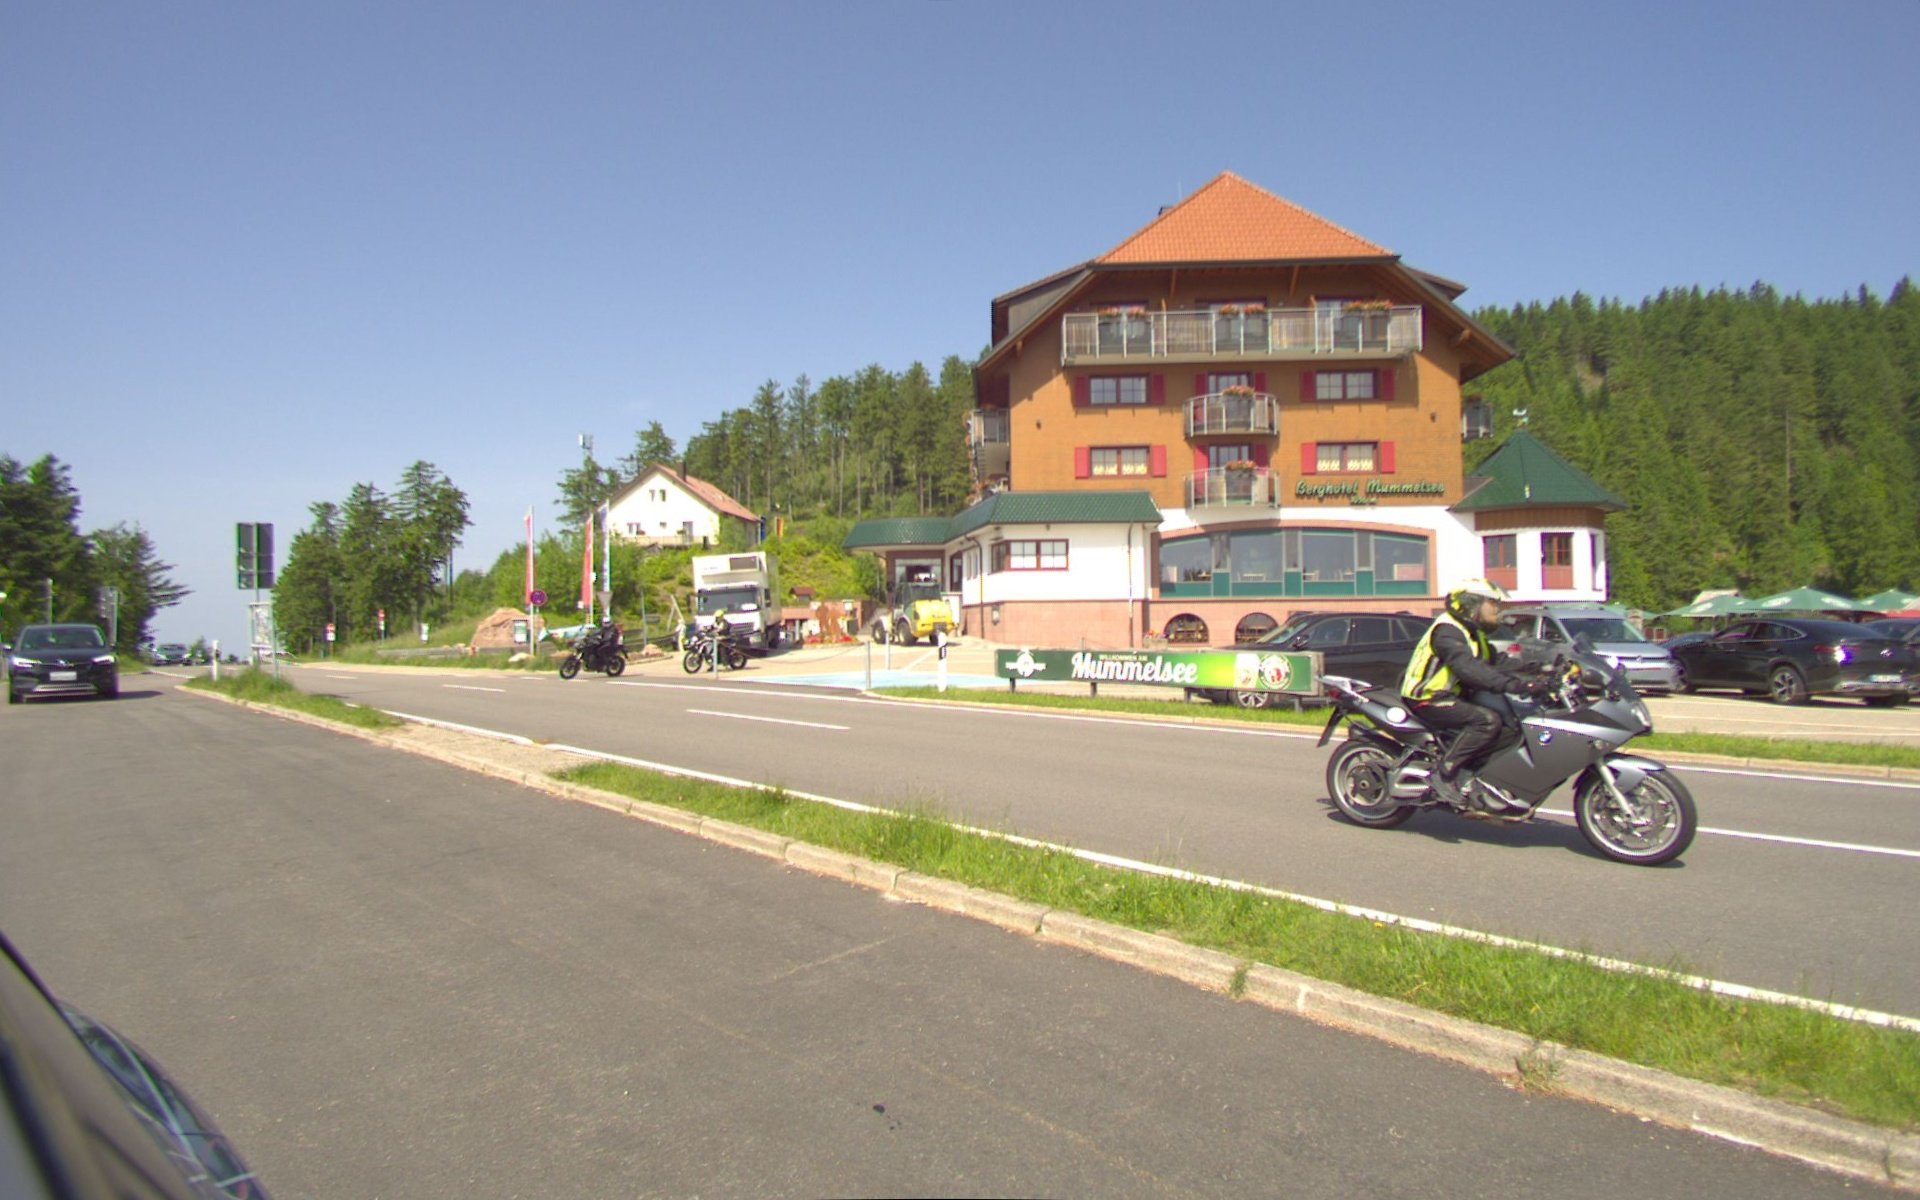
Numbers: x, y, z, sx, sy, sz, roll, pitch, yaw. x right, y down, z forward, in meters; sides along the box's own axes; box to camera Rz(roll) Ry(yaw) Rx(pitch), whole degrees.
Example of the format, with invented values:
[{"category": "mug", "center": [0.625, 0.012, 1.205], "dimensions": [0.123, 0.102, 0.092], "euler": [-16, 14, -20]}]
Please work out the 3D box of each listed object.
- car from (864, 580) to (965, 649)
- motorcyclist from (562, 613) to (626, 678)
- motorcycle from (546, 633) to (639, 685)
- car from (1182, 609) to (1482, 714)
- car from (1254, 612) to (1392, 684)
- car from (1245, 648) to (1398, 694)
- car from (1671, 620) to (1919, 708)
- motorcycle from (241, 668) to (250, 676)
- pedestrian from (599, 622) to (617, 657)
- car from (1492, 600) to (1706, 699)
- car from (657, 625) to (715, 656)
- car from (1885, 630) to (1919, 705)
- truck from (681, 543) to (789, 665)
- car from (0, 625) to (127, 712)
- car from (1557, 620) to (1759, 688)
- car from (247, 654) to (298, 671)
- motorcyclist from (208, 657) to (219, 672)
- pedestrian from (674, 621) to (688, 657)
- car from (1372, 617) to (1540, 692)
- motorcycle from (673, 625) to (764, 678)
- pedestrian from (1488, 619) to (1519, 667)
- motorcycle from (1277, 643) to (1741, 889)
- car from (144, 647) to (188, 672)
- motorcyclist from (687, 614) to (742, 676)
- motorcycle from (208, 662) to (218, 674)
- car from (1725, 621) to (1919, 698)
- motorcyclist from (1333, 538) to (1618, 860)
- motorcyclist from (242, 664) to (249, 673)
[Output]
[{"category": "car", "center": [-1.822, 0.621, 39.460], "dimensions": [1.968, 2.515, 4.008], "euler": [1, -3, -38]}, {"category": "motorcyclist", "center": [-10.154, 1.235, 28.078], "dimensions": [1.429, 1.730, 0.928], "euler": [-1, 0, -39]}, {"category": "motorcycle", "center": [-10.180, 1.608, 28.079], "dimensions": [2.241, 1.266, 0.881], "euler": [-1, 0, -40]}, {"category": "car", "center": [5.865, 0.981, 16.359], "dimensions": [4.135, 1.552, 1.807], "euler": [-1, -2, 1]}, {"category": "car", "center": [9.199, 1.186, 26.099], "dimensions": [1.913, 1.676, 4.544], "euler": [-1, -1, 0]}, {"category": "car", "center": [10.748, 2.114, 30.288], "dimensions": [3.947, 1.307, 1.712], "euler": [-1, -2, 3]}, {"category": "car", "center": [15.539, 1.134, 18.723], "dimensions": [1.887, 1.441, 3.999], "euler": [-1, -2, 0]}, {"category": "motorcycle", "center": [-115.024, 11.614, 162.924], "dimensions": [0.827, 1.104, 2.189], "euler": [-2, -1, -29]}, {"category": "pedestrian", "center": [-17.567, 1.975, 50.570], "dimensions": [0.688, 1.729, 0.799], "euler": [0, -3, -8]}, {"category": "car", "center": [13.344, 1.041, 21.533], "dimensions": [1.811, 1.878, 4.525], "euler": [-1, -2, 3]}, {"category": "car", "center": [-15.536, 2.276, 57.636], "dimensions": [1.857, 1.364, 3.994], "euler": [0, 3, 6]}, {"category": "car", "center": [17.809, 1.135, 16.728], "dimensions": [1.565, 1.331, 3.640], "euler": [0, -2, -1]}, {"category": "truck", "center": [-8.409, 0.126, 38.893], "dimensions": [3.022, 4.002, 8.785], "euler": [-3, 0, -7]}, {"category": "car", "center": [-19.039, 1.377, 21.409], "dimensions": [1.956, 1.629, 4.154], "euler": [0, -2, -43]}, {"category": "car", "center": [16.450, 1.267, 24.143], "dimensions": [1.907, 1.494, 4.001], "euler": [0, -2, -2]}, {"category": "car", "center": [-80.807, 7.322, 119.013], "dimensions": [4.659, 1.896, 1.935], "euler": [5, -6, -41]}, {"category": "motorcyclist", "center": [-82.089, 7.071, 111.245], "dimensions": [0.867, 1.654, 1.302], "euler": [2, -4, -39]}, {"category": "pedestrian", "center": [-13.463, 1.885, 48.774], "dimensions": [0.566, 1.702, 0.654], "euler": [0, -3, -8]}, {"category": "car", "center": [11.226, 1.231, 23.263], "dimensions": [1.973, 1.557, 3.996], "euler": [-1, -2, 2]}, {"category": "motorcycle", "center": [-7.101, 1.479, 29.825], "dimensions": [2.405, 1.417, 1.008], "euler": [-1, 0, -36]}, {"category": "pedestrian", "center": [18.729, 1.485, 34.888], "dimensions": [0.695, 1.645, 0.624], "euler": [-1, -3, 9]}, {"category": "motorcycle", "center": [3.164, 0.858, 6.032], "dimensions": [2.285, 1.186, 0.813], "euler": [-2, -2, 42]}, {"category": "car", "center": [-49.509, 3.693, 63.062], "dimensions": [1.755, 1.468, 4.003], "euler": [2, -3, -44]}, {"category": "motorcyclist", "center": [-7.211, 1.301, 29.714], "dimensions": [1.227, 1.733, 1.067], "euler": [-1, 0, -36]}, {"category": "motorcycle", "center": [-82.113, 7.498, 111.260], "dimensions": [0.800, 1.275, 2.331], "euler": [2, -4, -38]}, {"category": "car", "center": [18.971, 1.246, 21.732], "dimensions": [1.907, 1.494, 4.001], "euler": [0, -2, -2]}, {"category": "motorcyclist", "center": [3.112, 0.540, 6.133], "dimensions": [1.293, 1.688, 1.015], "euler": [-2, -2, 42]}, {"category": "motorcyclist", "center": [-115.058, 11.063, 163.016], "dimensions": [0.827, 1.452, 1.008], "euler": [0, -2, -30]}]
